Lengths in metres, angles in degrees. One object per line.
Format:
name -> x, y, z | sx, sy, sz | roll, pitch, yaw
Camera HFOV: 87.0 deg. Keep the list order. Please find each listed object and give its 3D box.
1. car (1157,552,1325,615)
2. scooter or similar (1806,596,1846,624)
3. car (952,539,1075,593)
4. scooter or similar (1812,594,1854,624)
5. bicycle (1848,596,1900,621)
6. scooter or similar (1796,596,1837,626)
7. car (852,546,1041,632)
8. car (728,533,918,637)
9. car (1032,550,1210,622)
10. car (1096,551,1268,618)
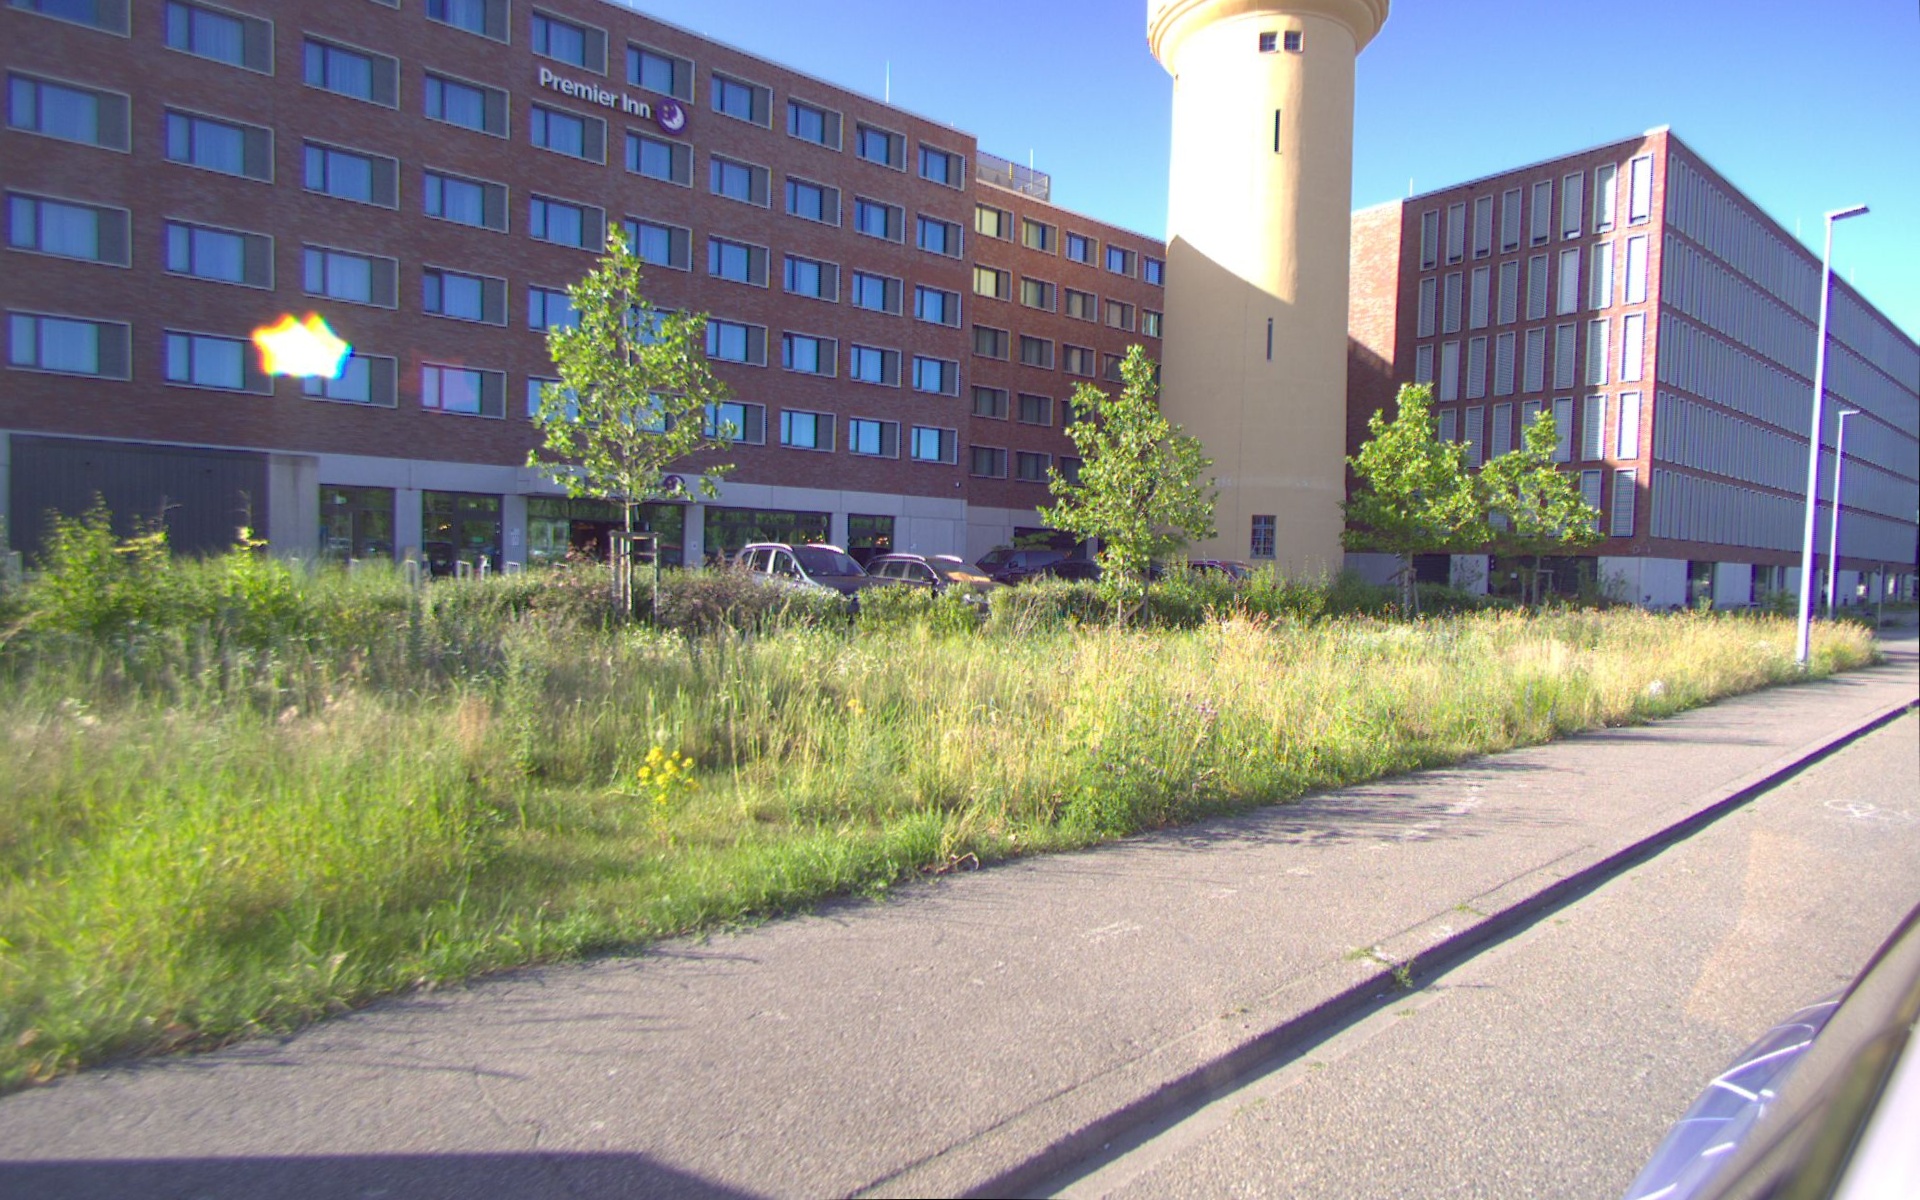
car -> 7.656, -0.482, 27.900 | 1.817, 1.600, 4.197 | 0, 1, -37
scooter or similar -> 37.988, 0.420, 44.401 | 0.359, 1.170, 1.247 | 0, 2, -36
car -> 2.148, -1.287, 39.649 | 4.708, 1.959, 1.976 | 0, 1, -40
scooter or similar -> 39.093, 0.389, 45.324 | 0.416, 1.260, 1.345 | 0, 2, -36
bicycle -> 47.828, 0.423, 52.974 | 1.933, 1.184, 0.369 | 5, 4, 44
scooter or similar -> 36.806, 0.447, 43.499 | 0.334, 1.209, 1.247 | 0, 2, -36
car -> -0.388, -0.270, 21.171 | 1.817, 1.600, 4.197 | 0, 1, -37
car -> -2.686, -0.312, 19.094 | 1.817, 1.727, 3.999 | 0, 1, -37
car -> 3.815, -0.380, 24.651 | 1.817, 1.600, 4.197 | 0, 1, -37
car -> 5.659, -0.430, 26.230 | 1.817, 1.600, 4.197 | 0, 1, -37
